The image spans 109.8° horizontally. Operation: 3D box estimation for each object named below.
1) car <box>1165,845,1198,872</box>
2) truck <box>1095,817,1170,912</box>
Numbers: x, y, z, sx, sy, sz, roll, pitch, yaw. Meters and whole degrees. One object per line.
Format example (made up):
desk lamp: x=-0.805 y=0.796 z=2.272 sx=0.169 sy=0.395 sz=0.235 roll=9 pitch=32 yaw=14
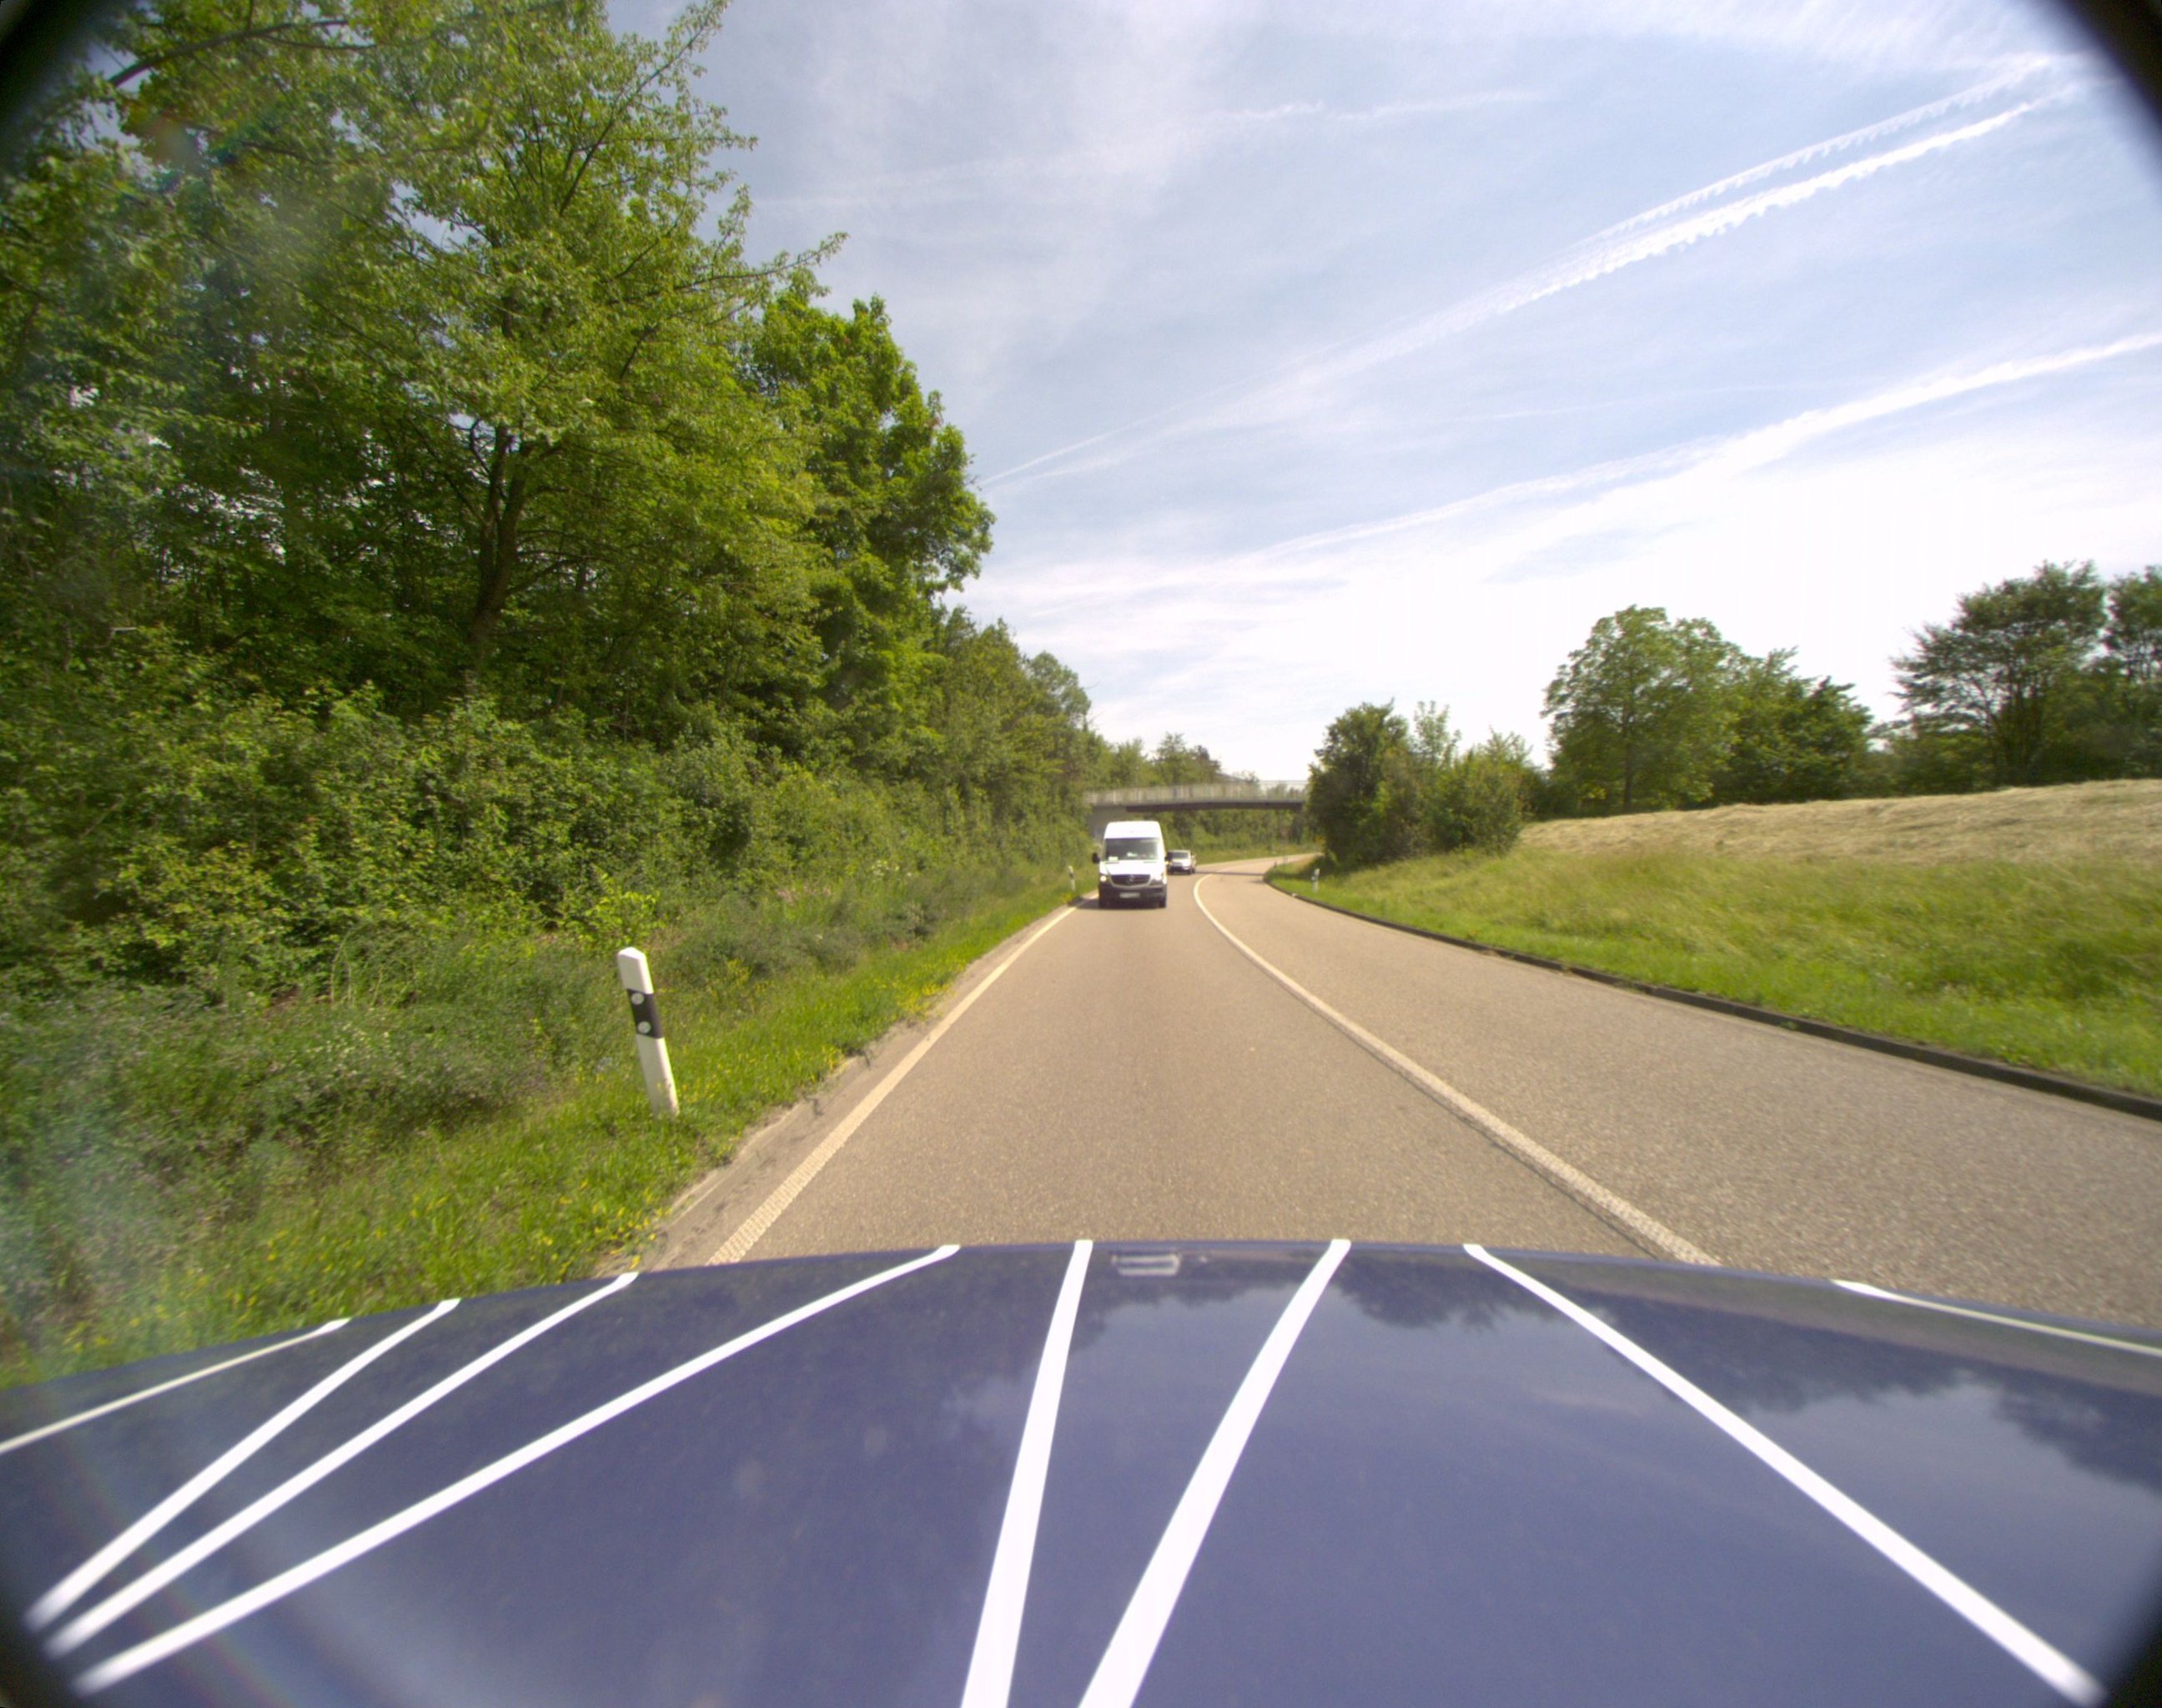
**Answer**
car: x=7.018 y=0.289 z=52.714 sx=1.847 sy=1.698 sz=4.092 roll=0 pitch=1 yaw=14
truck: x=1.740 y=0.288 z=23.772 sx=1.997 sy=2.571 sz=5.890 roll=-1 pitch=0 yaw=7
